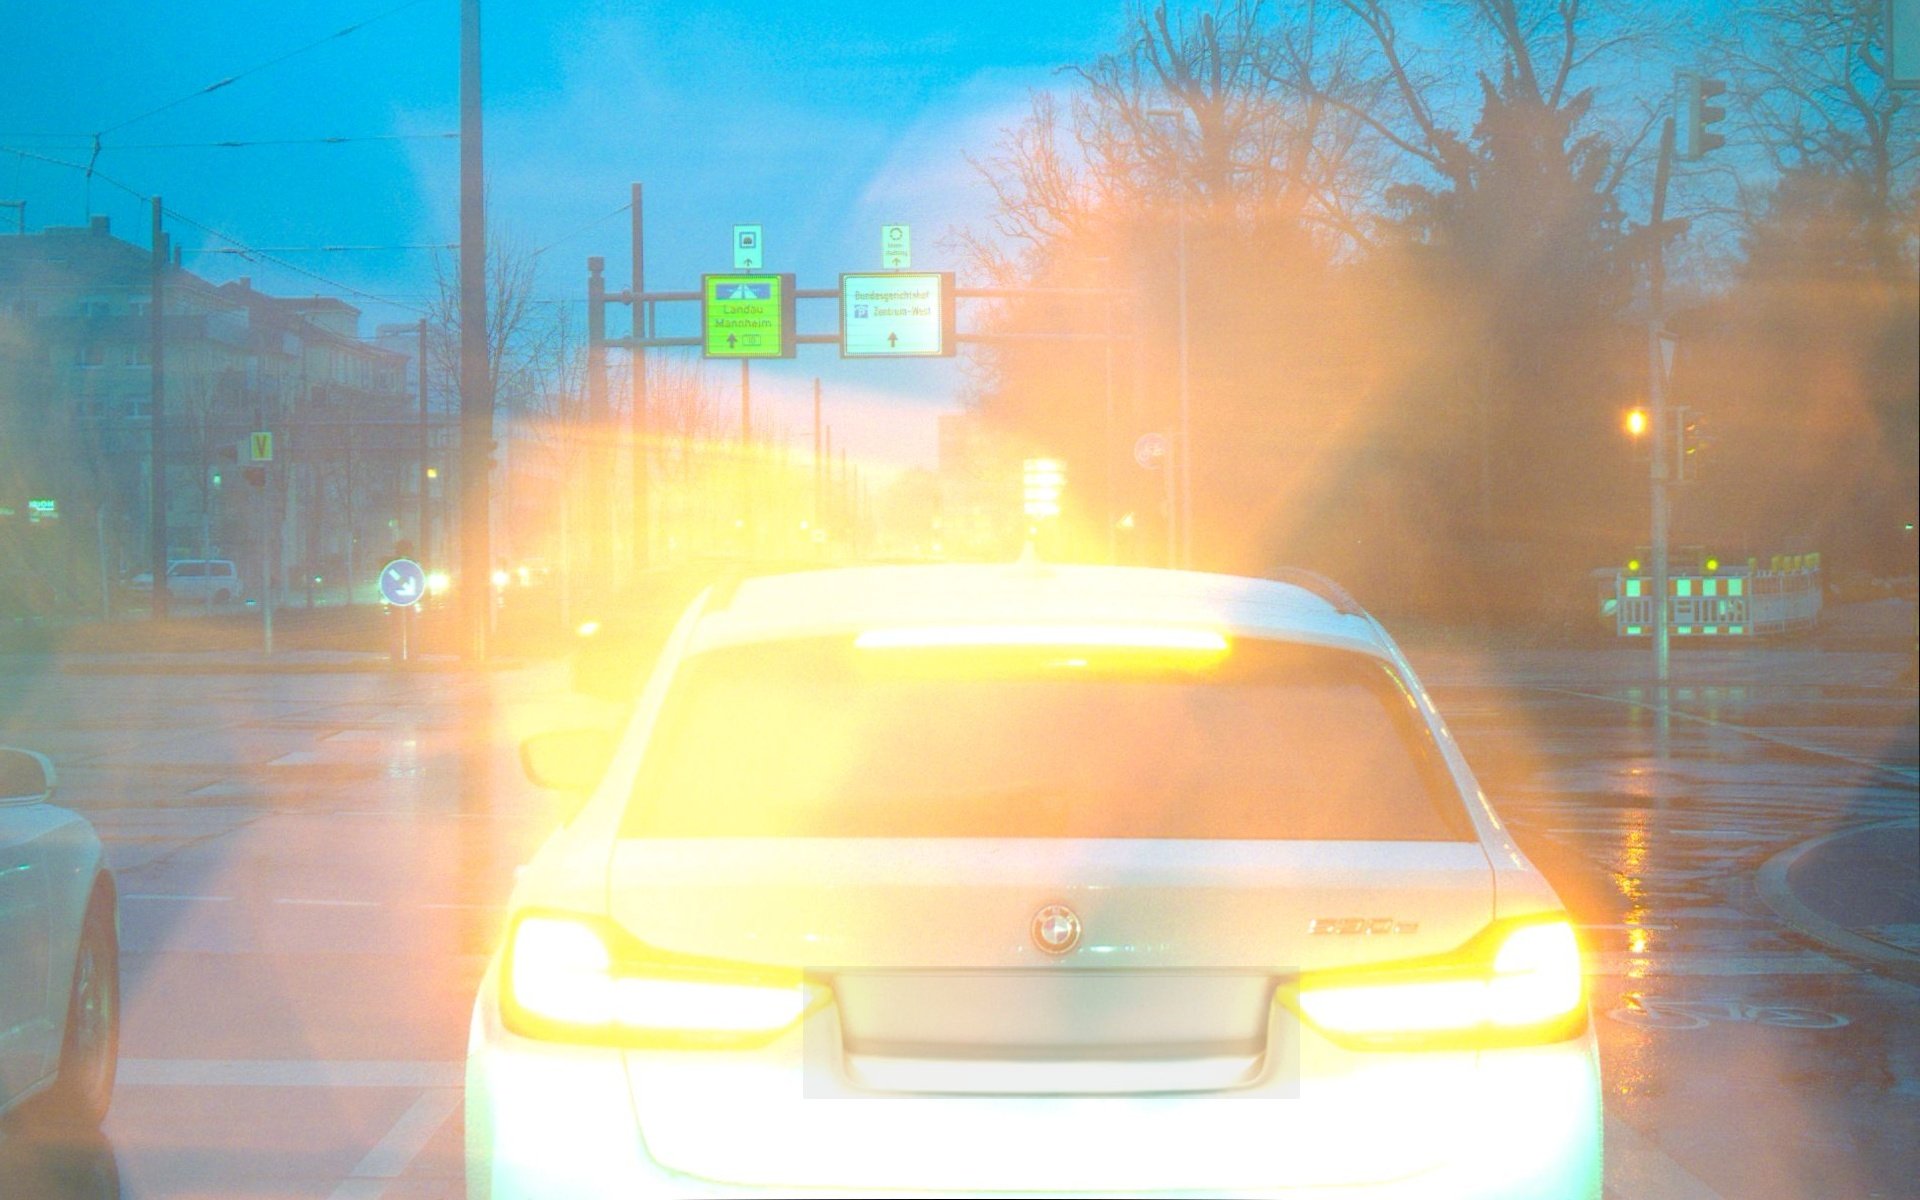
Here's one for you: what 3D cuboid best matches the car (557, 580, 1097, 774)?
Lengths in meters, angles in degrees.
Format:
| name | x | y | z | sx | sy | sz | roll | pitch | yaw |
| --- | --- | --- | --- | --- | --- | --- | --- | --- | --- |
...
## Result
| name | x | y | z | sx | sy | sz | roll | pitch | yaw |
| --- | --- | --- | --- | --- | --- | --- | --- | --- | --- |
| car | -1.144 | 0.636 | 29.892 | 4.316 | 1.525 | 1.761 | 1 | 0 | 18 |

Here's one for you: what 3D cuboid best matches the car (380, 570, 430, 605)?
| name | x | y | z | sx | sy | sz | roll | pitch | yaw |
| --- | --- | --- | --- | --- | --- | --- | --- | --- | --- |
| car | -24.816 | -0.545 | 153.791 | 1.675 | 1.502 | 3.696 | 1 | 0 | -1 |

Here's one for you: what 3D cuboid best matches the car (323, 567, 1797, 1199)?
| name | x | y | z | sx | sy | sz | roll | pitch | yaw |
| --- | --- | --- | --- | --- | --- | --- | --- | --- | --- |
| car | 0.046 | 0.682 | 6.835 | 1.993 | 1.451 | 4.369 | 0 | 1 | -2 |

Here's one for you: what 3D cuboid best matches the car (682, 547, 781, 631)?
| name | x | y | z | sx | sy | sz | roll | pitch | yaw |
| --- | --- | --- | --- | --- | --- | --- | --- | --- | --- |
| car | -4.602 | -0.214 | 68.852 | 1.842 | 1.603 | 3.945 | 1 | 0 | -5 |

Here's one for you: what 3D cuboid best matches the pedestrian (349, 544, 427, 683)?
| name | x | y | z | sx | sy | sz | roll | pitch | yaw |
| --- | --- | --- | --- | --- | --- | --- | --- | --- | --- |
| pedestrian | -7.757 | 0.176 | 46.587 | 0.902 | 1.850 | 0.812 | 1 | 0 | -17 |

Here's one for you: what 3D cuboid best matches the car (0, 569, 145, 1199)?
| name | x | y | z | sx | sy | sz | roll | pitch | yaw |
| --- | --- | --- | --- | --- | --- | --- | --- | --- | --- |
| car | -3.100 | 0.680 | 7.053 | 1.993 | 1.451 | 4.369 | 0 | 1 | -2 |
